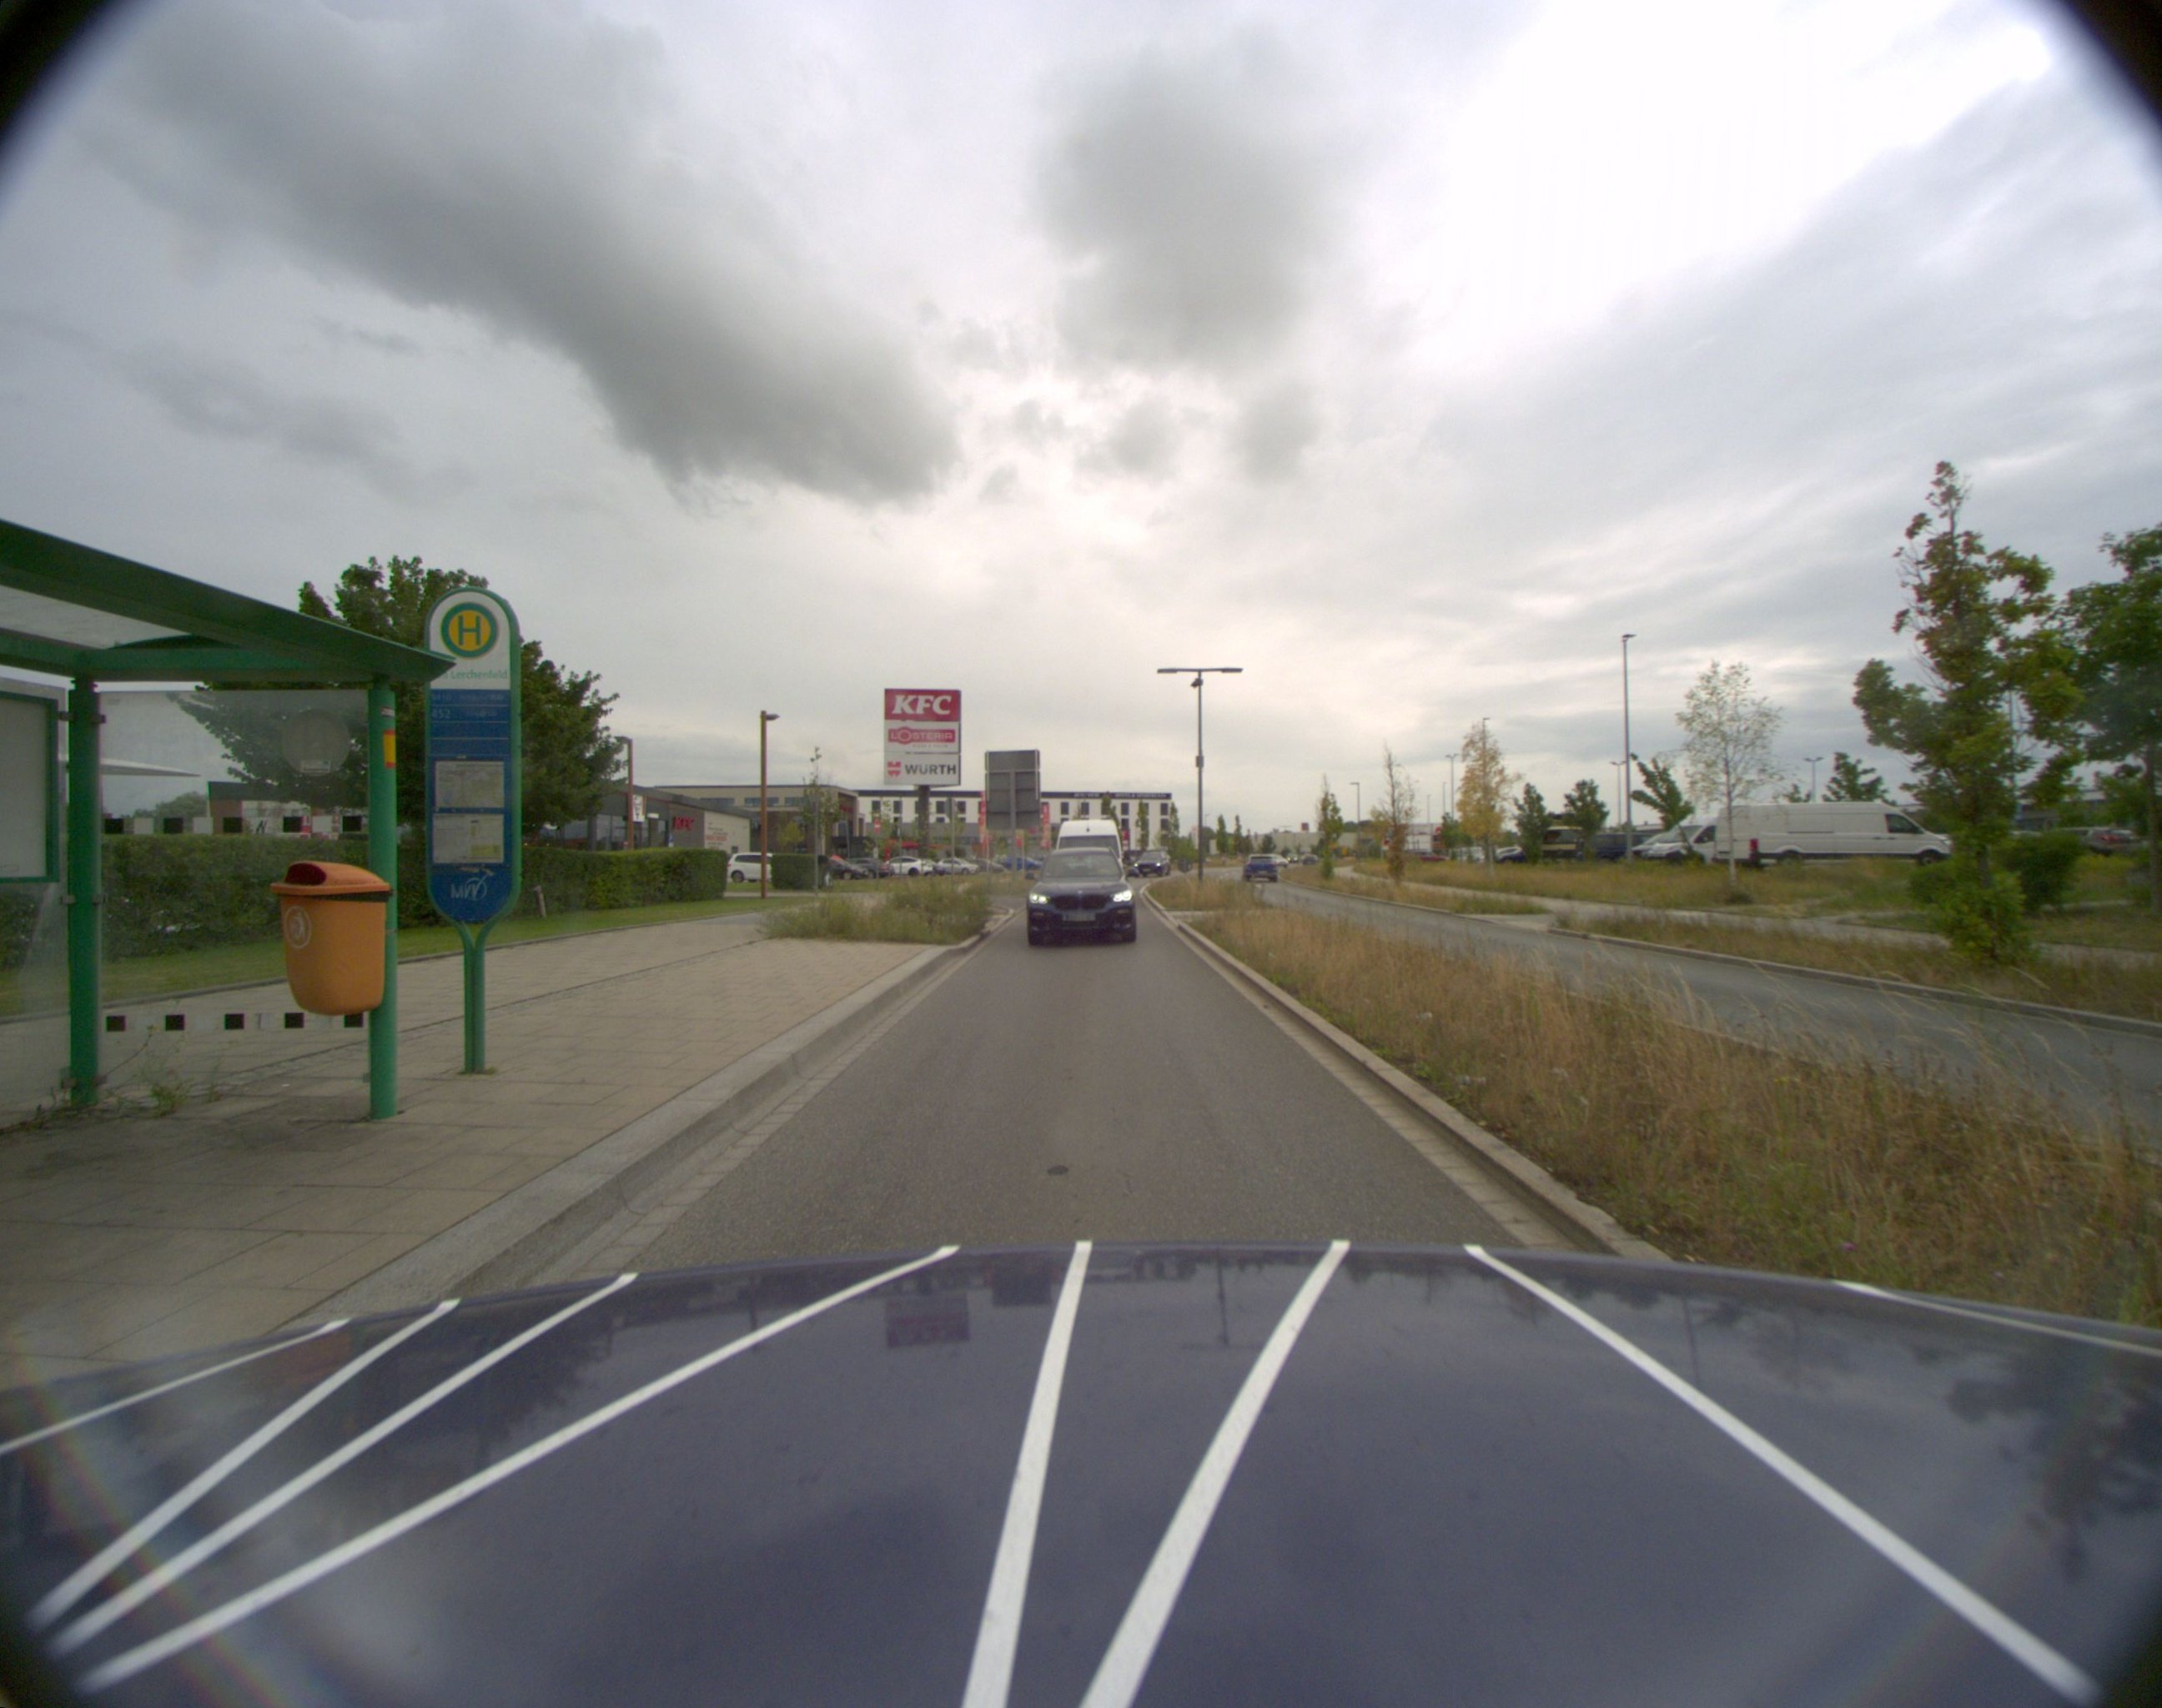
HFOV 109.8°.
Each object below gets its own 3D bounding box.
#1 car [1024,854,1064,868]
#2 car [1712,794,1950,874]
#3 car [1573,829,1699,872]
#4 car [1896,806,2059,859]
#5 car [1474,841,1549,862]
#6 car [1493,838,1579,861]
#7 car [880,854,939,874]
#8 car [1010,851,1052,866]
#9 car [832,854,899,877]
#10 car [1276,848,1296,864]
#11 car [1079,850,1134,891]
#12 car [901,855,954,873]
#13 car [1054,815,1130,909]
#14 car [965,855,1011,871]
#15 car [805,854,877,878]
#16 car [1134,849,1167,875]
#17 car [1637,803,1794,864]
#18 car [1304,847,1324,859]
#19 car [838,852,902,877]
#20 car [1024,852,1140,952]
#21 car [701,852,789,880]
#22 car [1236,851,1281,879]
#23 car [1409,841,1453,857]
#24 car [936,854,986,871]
[{"bbox_3d":[-4.108,0.775,83.872,3.992,1.477,1.849,-2,1,18],"label":"car"},{"bbox_3d":[27.581,-0.723,28.136,6.413,2.609,2.065,-2,1,5],"label":"car"},{"bbox_3d":[29.620,-0.188,40.705,5.050,2.210,2.066,0,0,8],"label":"car"},{"bbox_3d":[43.628,-0.996,37.191,2.063,2.359,5.057,-2,1,1],"label":"car"},{"bbox_3d":[35.567,-0.199,62.925,5.049,1.646,2.066,0,0,11],"label":"car"},{"bbox_3d":[33.233,-0.311,55.645,5.049,1.646,2.066,0,0,11],"label":"car"},{"bbox_3d":[-13.162,0.772,58.538,3.994,1.513,1.848,0,0,9],"label":"car"},{"bbox_3d":[-5.370,0.511,81.888,3.992,1.477,1.849,-2,1,18],"label":"car"},{"bbox_3d":[-14.605,0.782,51.565,3.994,1.477,1.848,0,0,9],"label":"car"},{"bbox_3d":[22.913,0.267,84.967,1.996,1.660,4.005,-2,-1,16],"label":"car"},{"bbox_3d":[1.214,0.722,34.008,1.997,1.660,4.003,-2,-1,8],"label":"car"},{"bbox_3d":[-12.855,0.813,63.714,3.994,1.477,1.848,0,0,9],"label":"car"},{"bbox_3d":[0.306,0.219,23.556,2.026,2.513,6.105,0,0,0],"label":"car"},{"bbox_3d":[-8.916,0.849,72.832,3.993,1.477,1.849,0,0,13],"label":"car"},{"bbox_3d":[-15.460,0.767,48.939,3.994,1.477,1.848,0,0,9],"label":"car"},{"bbox_3d":[4.948,0.567,53.853,1.860,1.660,4.004,-2,-1,11],"label":"car"},{"bbox_3d":[27.565,-0.874,33.135,5.053,2.359,2.064,-2,1,1],"label":"car"},{"bbox_3d":[29.390,-0.092,95.855,1.730,1.484,4.007,0,0,27],"label":"car"},{"bbox_3d":[-15.192,0.770,54.883,3.994,1.602,1.848,-2,1,9],"label":"car"},{"bbox_3d":[0.018,0.782,14.318,1.867,1.598,4.000,0,0,0],"label":"car"},{"bbox_3d":[-18.369,0.644,41.640,3.996,1.519,1.847,0,0,2],"label":"car"},{"bbox_3d":[10.170,0.610,43.844,1.733,1.504,4.000,0,0,1],"label":"car"},{"bbox_3d":[35.548,-0.532,77.248,3.990,1.455,1.739,-2,1,25],"label":"car"},{"bbox_3d":[-10.754,0.790,68.273,3.993,1.477,1.849,0,0,13],"label":"car"}]
